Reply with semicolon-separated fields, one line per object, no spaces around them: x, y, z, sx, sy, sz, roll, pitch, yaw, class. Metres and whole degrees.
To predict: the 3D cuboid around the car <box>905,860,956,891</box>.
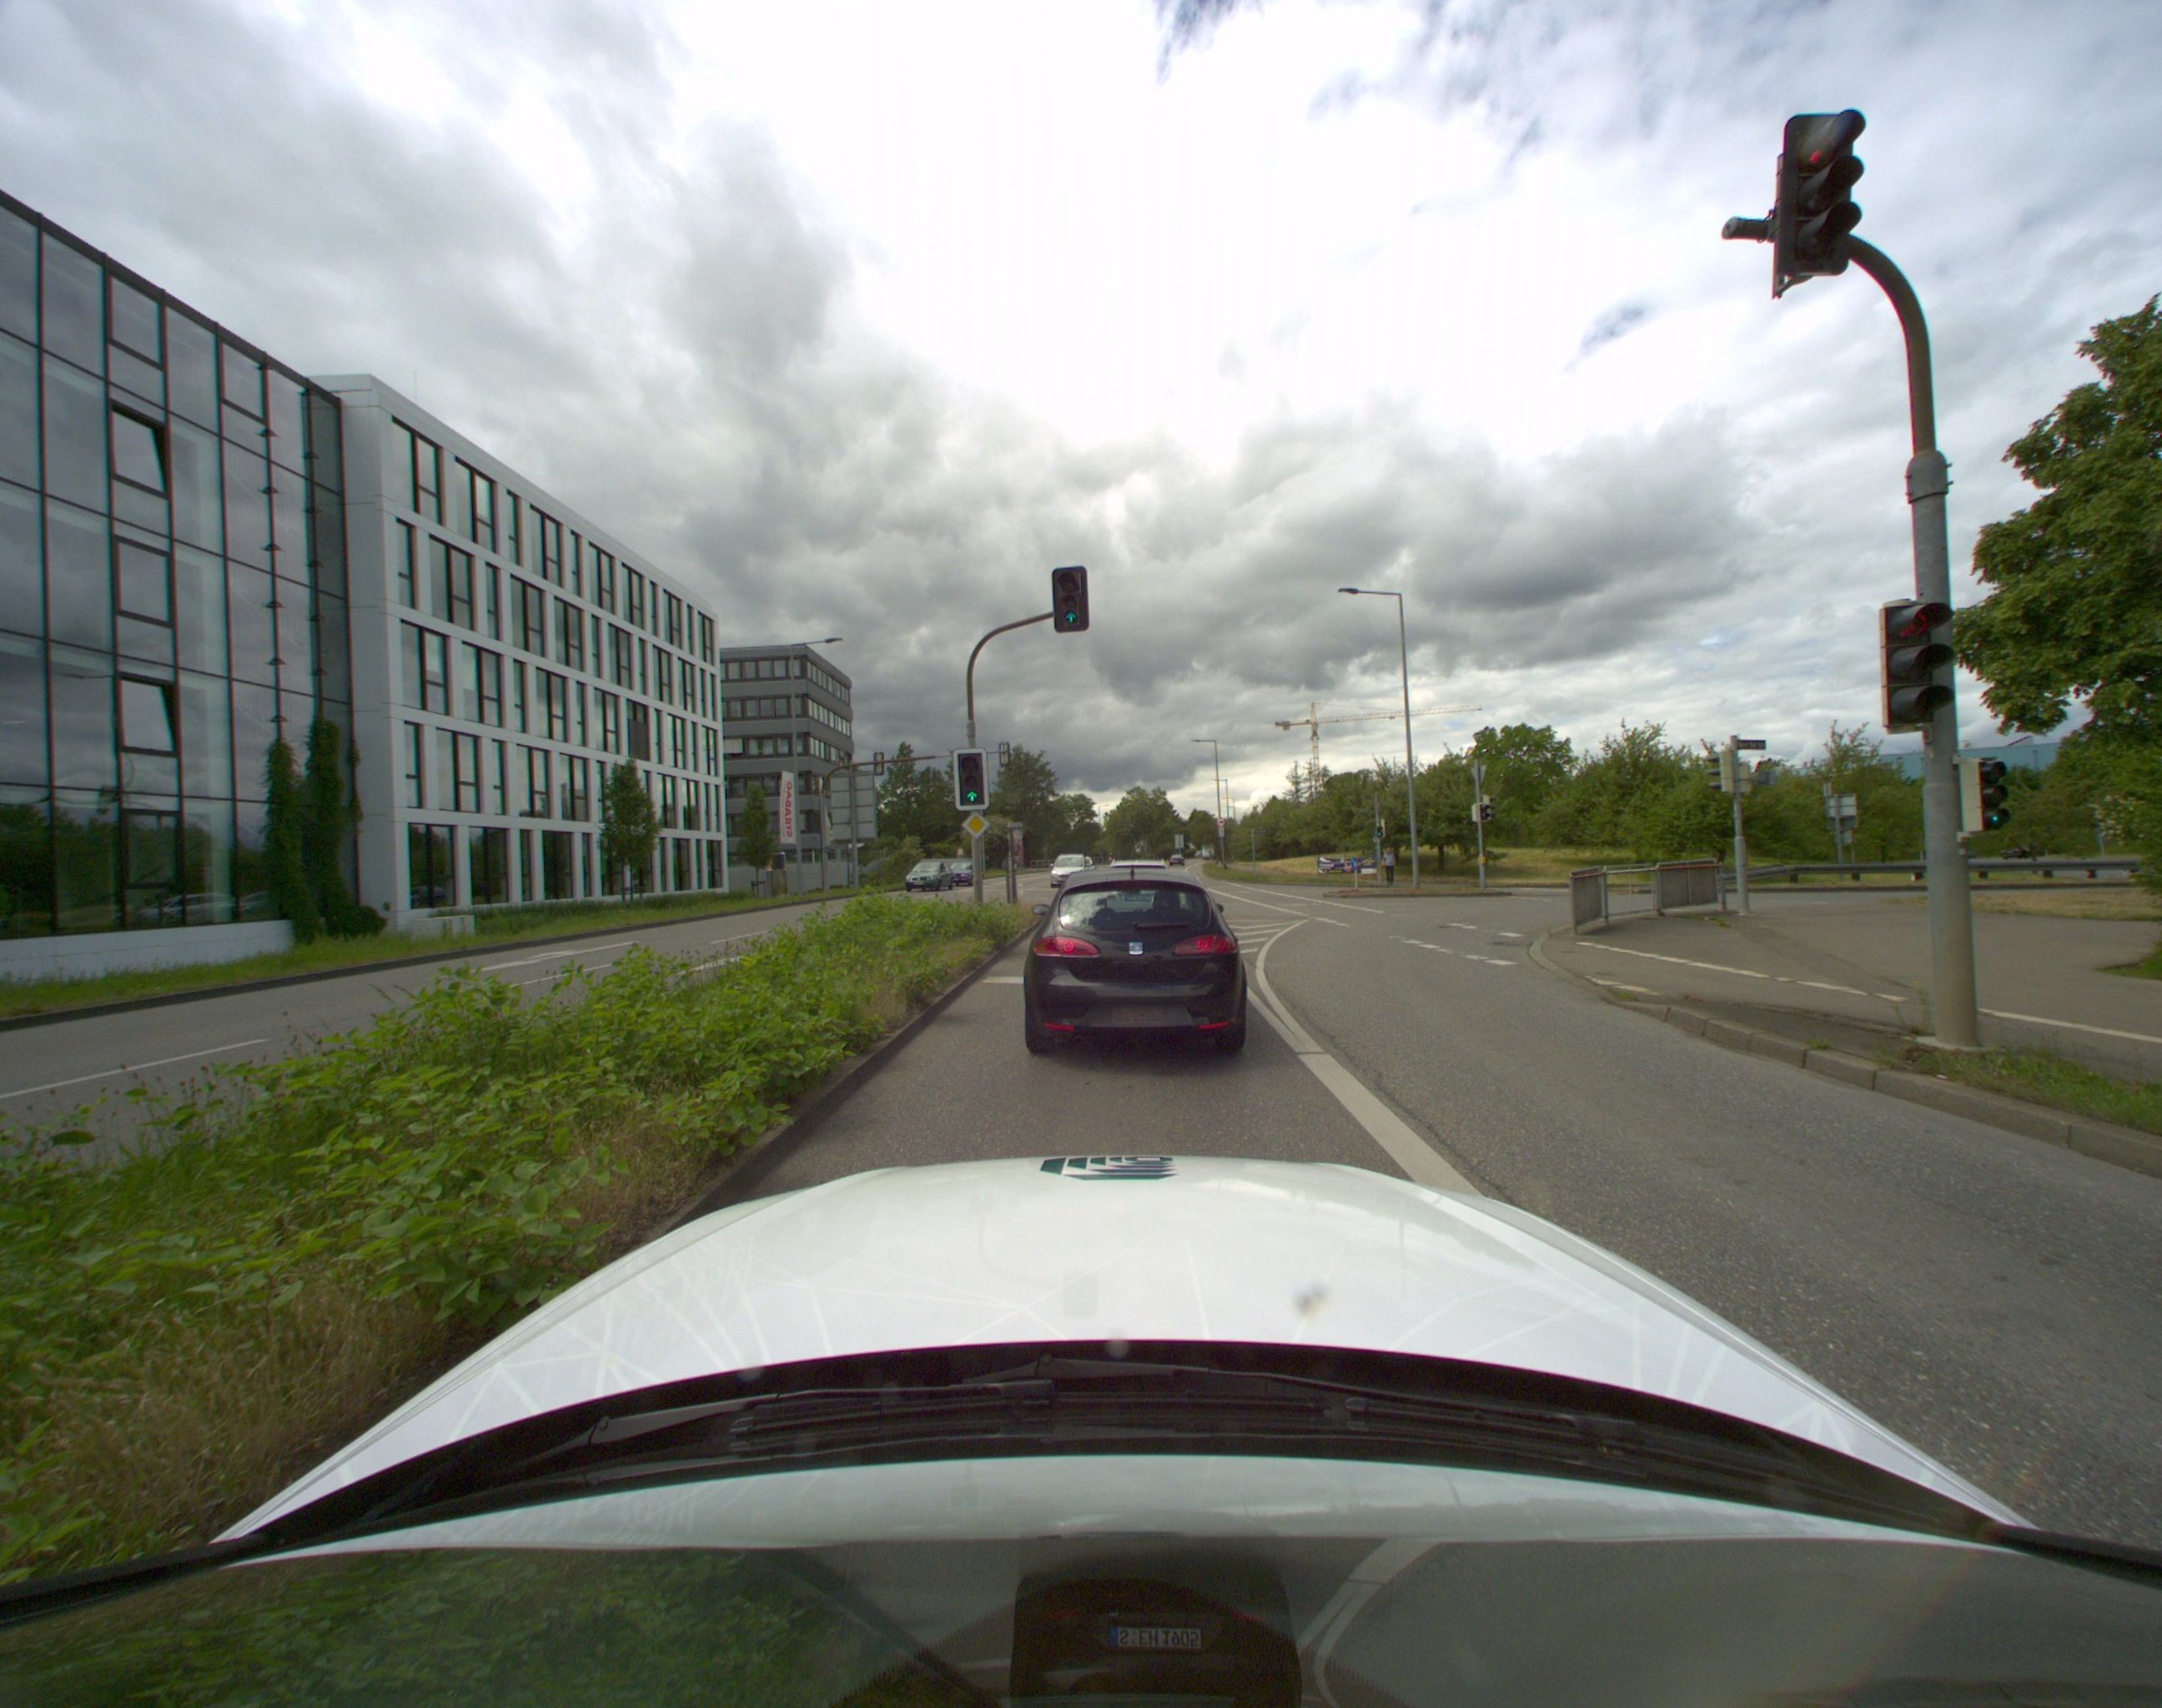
-7.454;1.052;40.627;1.598;1.432;3.756;-1;0;4;car

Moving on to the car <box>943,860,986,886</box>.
-6.720;1.077;47.380;1.546;1.419;3.901;-1;0;5;car

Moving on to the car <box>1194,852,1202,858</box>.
29.800;0.190;207.485;1.702;1.581;3.756;-1;-1;14;car

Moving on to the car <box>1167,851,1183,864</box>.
11.984;0.383;104.161;1.983;1.565;4.479;-2;0;6;car

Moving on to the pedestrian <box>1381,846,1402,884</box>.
14.967;0.522;39.272;0.714;1.793;1.045;-1;-1;5;pedestrian

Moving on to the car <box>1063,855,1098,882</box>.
0.016;0.855;49.208;1.652;1.518;4.091;-1;0;6;car

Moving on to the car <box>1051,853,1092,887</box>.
-0.455;0.788;43.233;1.812;1.686;4.649;-1;0;3;car

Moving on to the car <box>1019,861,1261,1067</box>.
0.477;0.801;7.527;1.705;1.417;3.461;-1;0;2;car

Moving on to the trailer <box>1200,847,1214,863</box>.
24.189;0.227;155.910;2.476;3.073;5.602;-1;-1;10;trailer

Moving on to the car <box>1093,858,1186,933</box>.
1.252;0.846;17.960;1.827;1.467;3.754;-1;-1;3;car
